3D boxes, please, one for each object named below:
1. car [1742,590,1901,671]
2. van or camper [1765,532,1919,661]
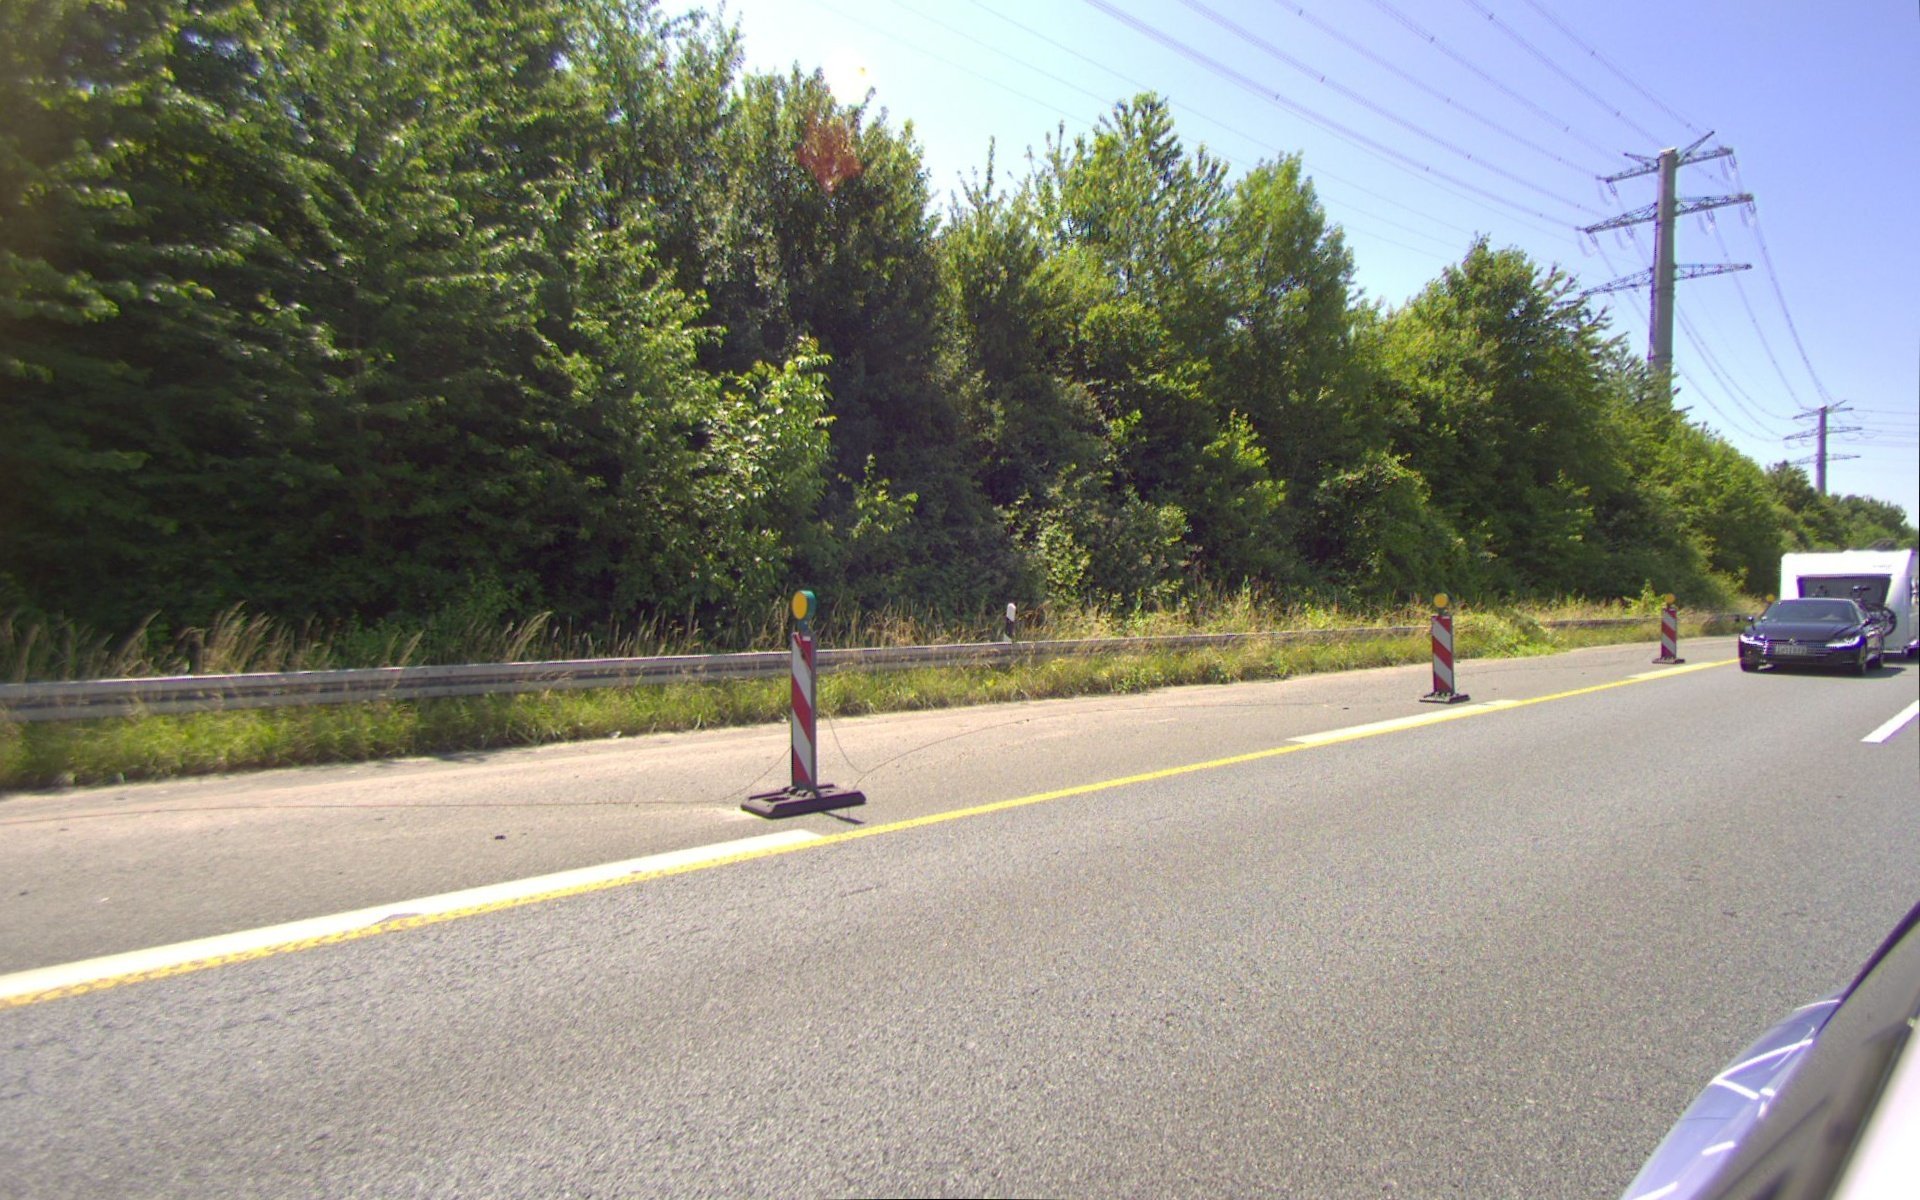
[{"bbox_3d":[16.957,0.520,19.866,4.137,1.425,1.799,0,0,-41],"label":"car"},{"bbox_3d":[21.598,-0.101,24.058,8.271,2.597,2.430,0,0,-41],"label":"van or camper"}]
